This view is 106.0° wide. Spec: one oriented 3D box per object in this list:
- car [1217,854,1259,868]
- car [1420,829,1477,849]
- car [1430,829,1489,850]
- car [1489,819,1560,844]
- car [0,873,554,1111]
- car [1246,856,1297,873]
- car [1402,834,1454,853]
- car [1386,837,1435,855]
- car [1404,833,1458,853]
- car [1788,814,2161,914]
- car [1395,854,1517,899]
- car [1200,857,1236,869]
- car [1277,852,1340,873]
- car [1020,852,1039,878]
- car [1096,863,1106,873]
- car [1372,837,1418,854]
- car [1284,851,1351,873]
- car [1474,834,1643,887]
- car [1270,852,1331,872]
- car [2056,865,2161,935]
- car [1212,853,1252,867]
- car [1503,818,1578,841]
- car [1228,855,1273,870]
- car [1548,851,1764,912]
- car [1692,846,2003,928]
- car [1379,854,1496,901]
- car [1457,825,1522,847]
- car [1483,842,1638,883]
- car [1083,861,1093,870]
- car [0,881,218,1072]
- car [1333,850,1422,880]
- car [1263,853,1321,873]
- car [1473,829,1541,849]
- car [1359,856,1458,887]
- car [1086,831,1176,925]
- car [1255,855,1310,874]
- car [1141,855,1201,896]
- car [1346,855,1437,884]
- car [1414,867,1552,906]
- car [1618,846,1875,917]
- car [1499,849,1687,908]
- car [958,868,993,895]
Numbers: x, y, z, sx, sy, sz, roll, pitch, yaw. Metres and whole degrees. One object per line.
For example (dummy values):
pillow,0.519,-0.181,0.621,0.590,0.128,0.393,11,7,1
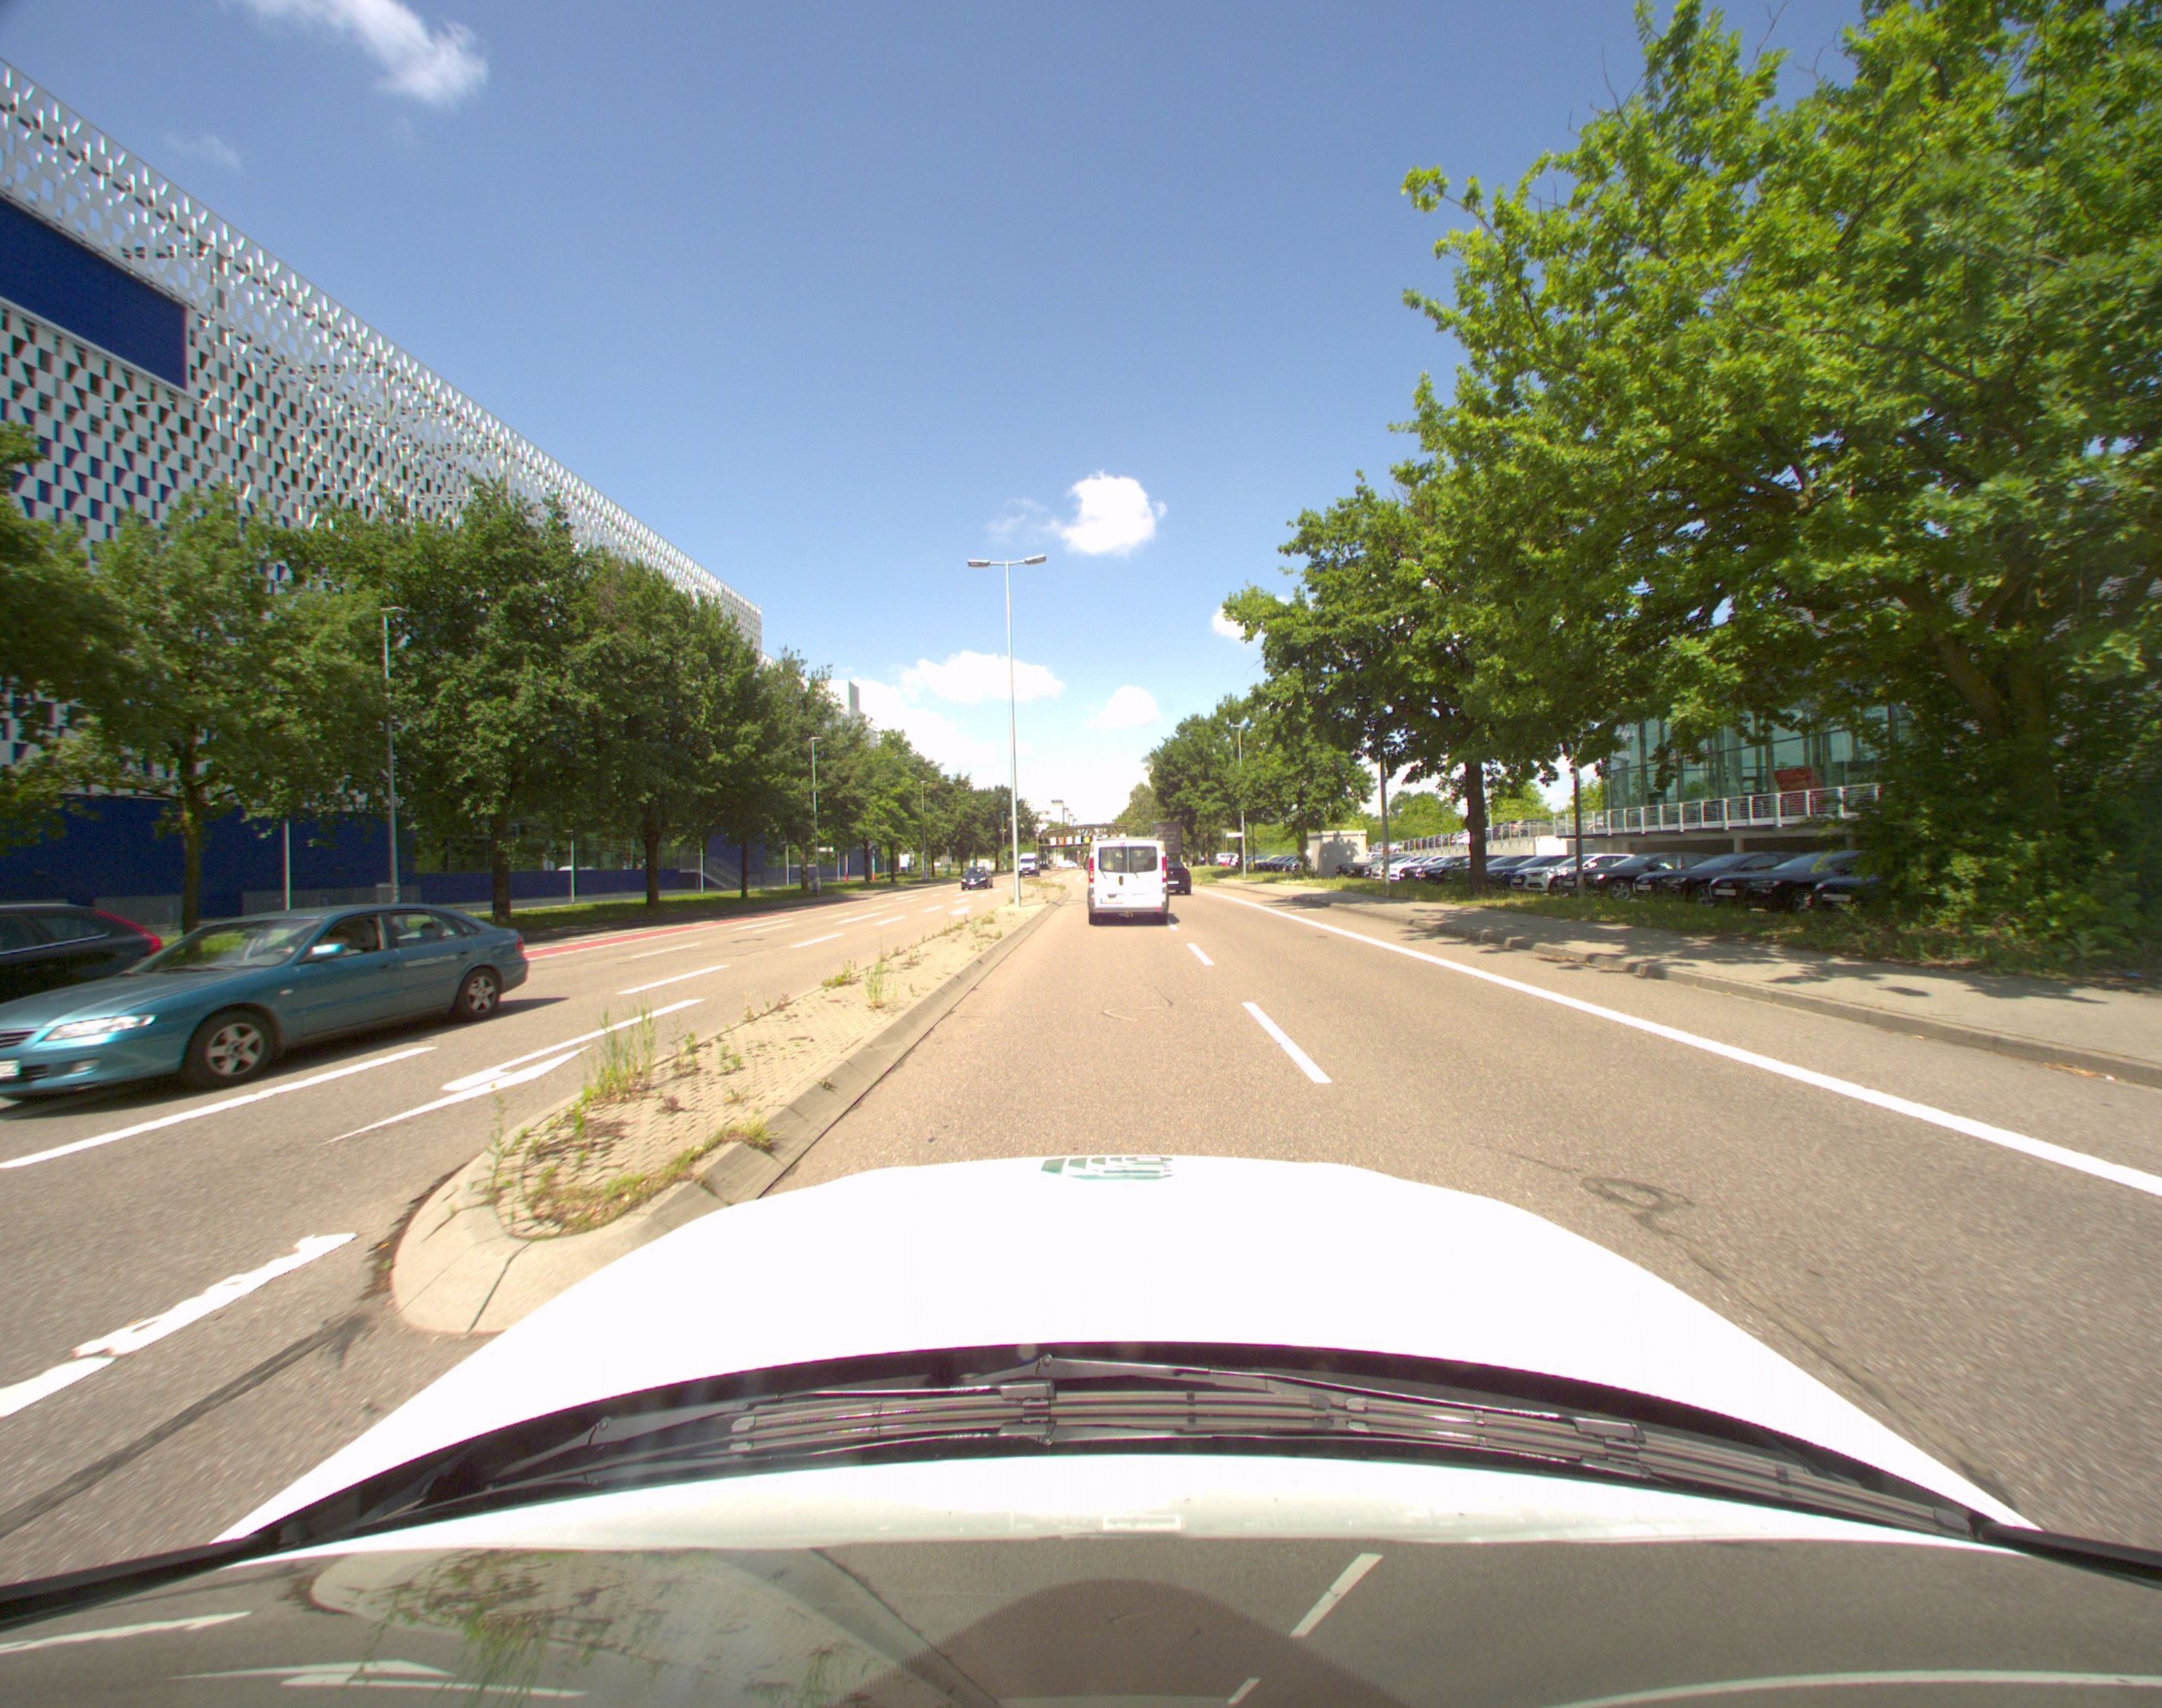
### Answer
car,17.634,0.782,91.663,4.341,1.512,1.936,-1,1,0
car,33.176,-1.365,73.688,4.335,1.774,1.938,0,1,4
car,33.379,-1.247,71.841,4.335,1.774,1.938,0,1,4
car,33.174,-1.653,61.004,4.335,1.774,1.938,0,1,4
car,-7.767,1.059,8.105,1.767,1.548,4.821,-4,-1,1
car,17.626,0.959,75.496,4.341,1.512,1.936,-1,1,0
car,33.692,-1.022,79.189,4.335,1.774,1.938,0,1,4
car,34.197,-0.852,84.560,4.335,1.774,1.938,0,1,4
car,32.902,-1.062,76.647,4.335,1.774,1.938,0,1,4
car,15.420,0.174,14.142,4.558,1.499,1.907,-1,-1,1
car,16.034,0.940,34.934,4.332,1.512,1.786,4,1,1
car,17.708,1.163,105.292,4.341,1.512,1.936,-1,1,0
car,17.448,0.667,62.615,4.341,1.512,1.936,-1,1,0
car,-5.910,1.286,94.797,2.018,2.893,6.376,-2,-1,-2
car,4.075,2.867,166.932,1.986,2.014,4.002,-2,-1,2
car,34.157,-0.953,88.705,4.335,1.774,1.938,0,1,4
car,17.405,0.577,60.046,4.341,1.512,1.936,-1,1,0
car,15.910,0.191,27.284,4.558,1.678,1.908,-1,1,1
car,17.543,0.653,65.237,4.341,1.512,1.936,-1,1,0
car,26.127,1.017,19.027,4.331,1.499,1.907,-1,-1,1
car,17.471,0.659,94.454,4.341,1.512,1.936,-1,1,0
car,33.010,-1.759,58.618,4.335,1.551,1.938,0,1,4
car,17.932,0.893,86.264,4.341,1.512,1.936,-1,1,0
car,15.689,0.737,22.394,4.558,1.499,1.907,-1,-1,1
car,15.624,0.655,16.800,4.558,1.499,1.907,-1,-1,1
car,16.228,1.050,37.250,4.558,2.049,1.908,-1,1,1
car,33.310,-1.456,66.511,4.335,1.774,1.938,0,1,4
car,17.418,0.284,29.719,4.558,1.404,1.908,-1,1,1
car,1.582,2.532,177.598,1.985,1.771,4.003,-1,1,3
car,-11.184,1.238,7.163,1.921,1.755,4.821,-4,-1,1
car,16.520,0.603,45.517,4.338,1.513,1.856,-2,-1,2
car,17.526,0.750,67.690,4.341,1.512,1.936,-1,1,0
car,33.319,-1.178,63.820,4.335,1.551,1.938,0,1,4
car,15.953,0.839,39.767,4.092,1.404,1.818,-1,-1,1
car,1.201,0.524,20.439,1.965,2.060,4.567,-1,0,2
car,17.377,0.919,70.389,4.341,1.512,1.936,-1,1,0
car,3.892,0.880,35.893,1.772,1.629,3.991,-1,0,-7
car,16.273,0.814,42.786,4.091,1.445,1.856,-1,0,2
car,15.903,1.266,32.367,4.558,1.404,1.908,-1,1,1
car,15.822,0.640,19.553,4.558,1.499,1.907,-1,-1,1
car,15.541,0.719,24.900,4.558,1.678,1.908,-1,1,1
car,-7.187,1.819,55.700,1.733,1.610,4.239,-5,-1,-1
